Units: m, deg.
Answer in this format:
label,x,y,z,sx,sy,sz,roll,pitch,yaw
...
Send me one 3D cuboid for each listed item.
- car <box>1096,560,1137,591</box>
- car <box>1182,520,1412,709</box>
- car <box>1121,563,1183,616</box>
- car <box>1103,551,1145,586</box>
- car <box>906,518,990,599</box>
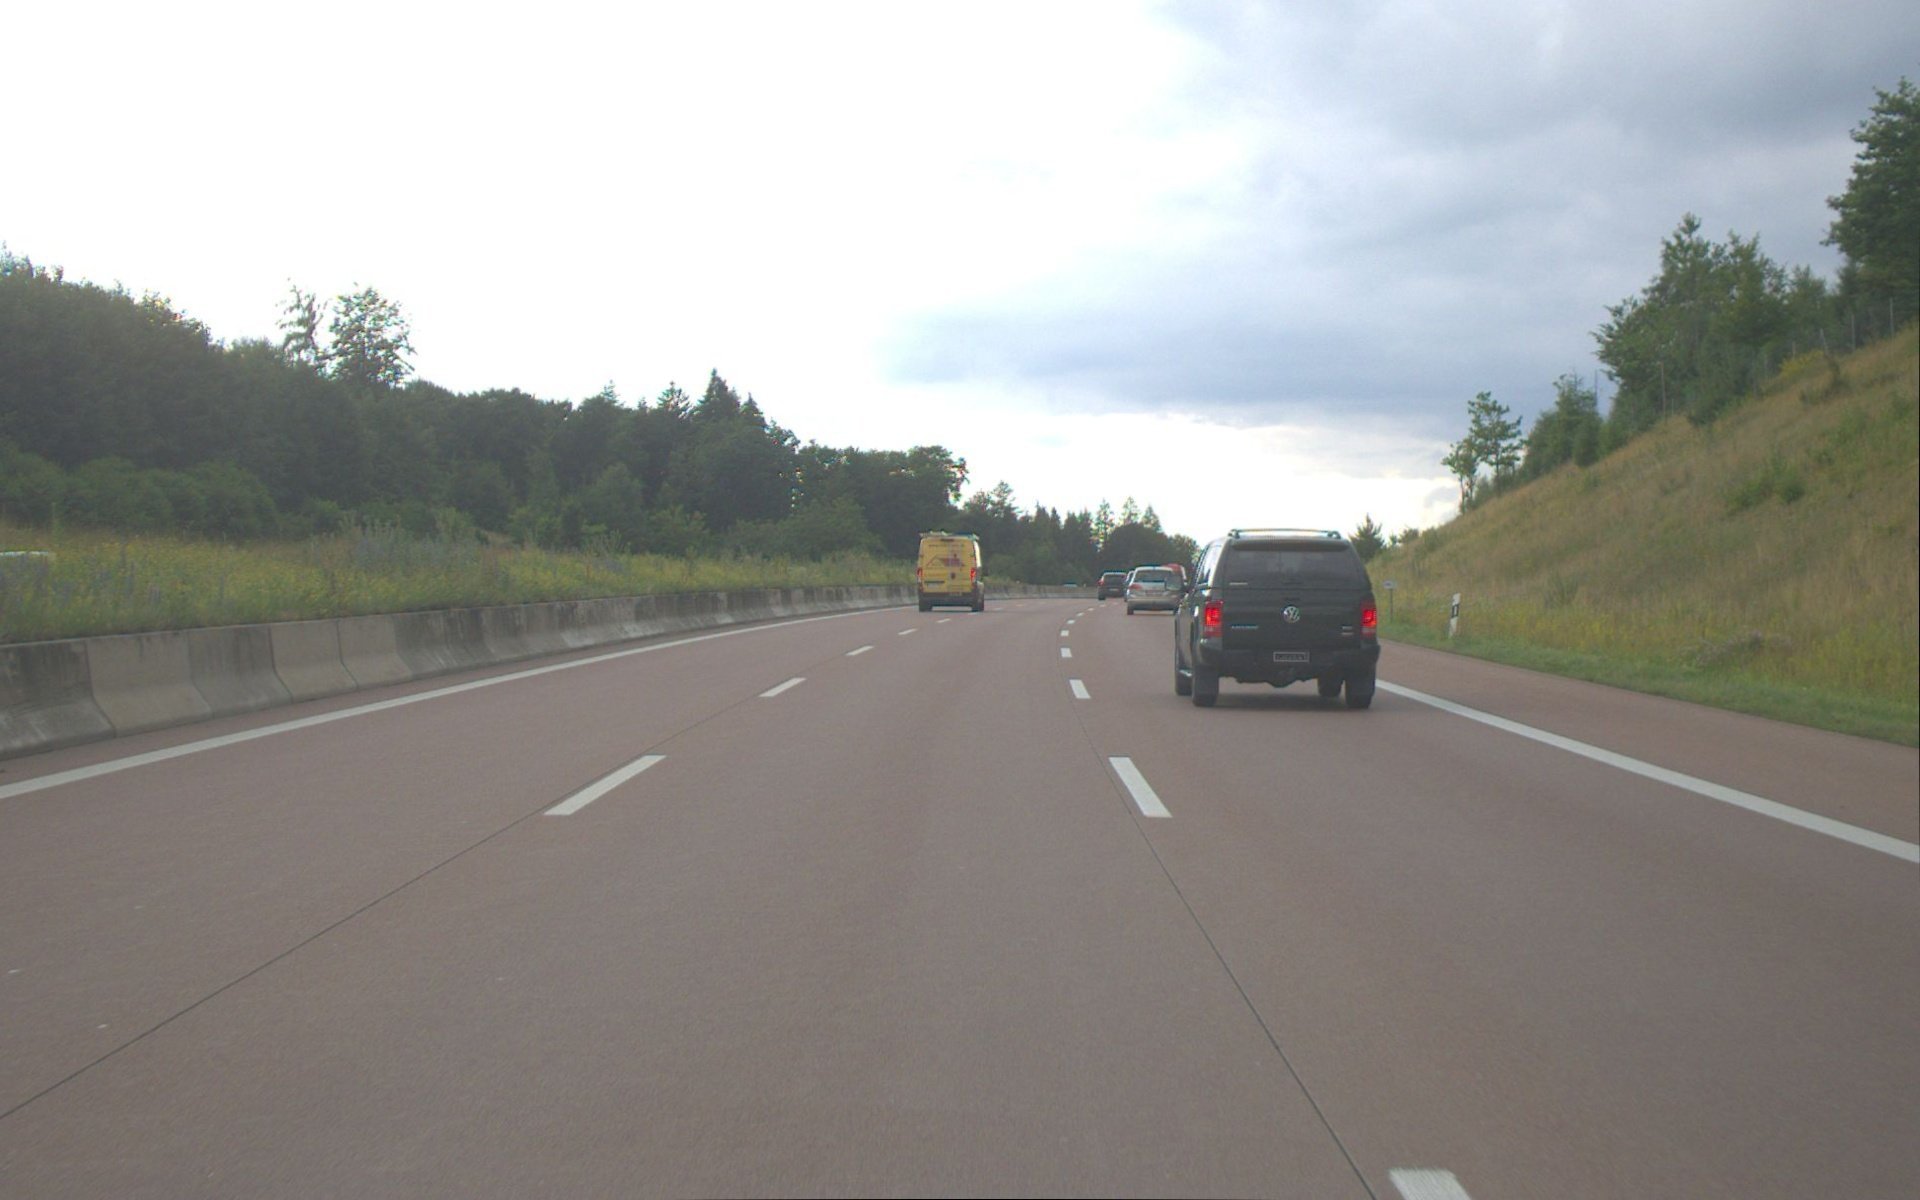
label,x,y,z,sx,sy,sz,roll,pitch,yaw
car,9.232,-1.433,202.632,1.888,1.758,4.996,0,0,8
car,3.560,0.151,37.281,2.044,1.890,5.577,0,0,1
car,6.278,-0.345,112.496,1.978,1.642,4.619,1,0,3
car,8.561,-1.653,179.641,1.888,1.758,4.781,0,0,6
car,-0.371,-1.400,118.544,2.459,2.697,5.612,0,0,4
